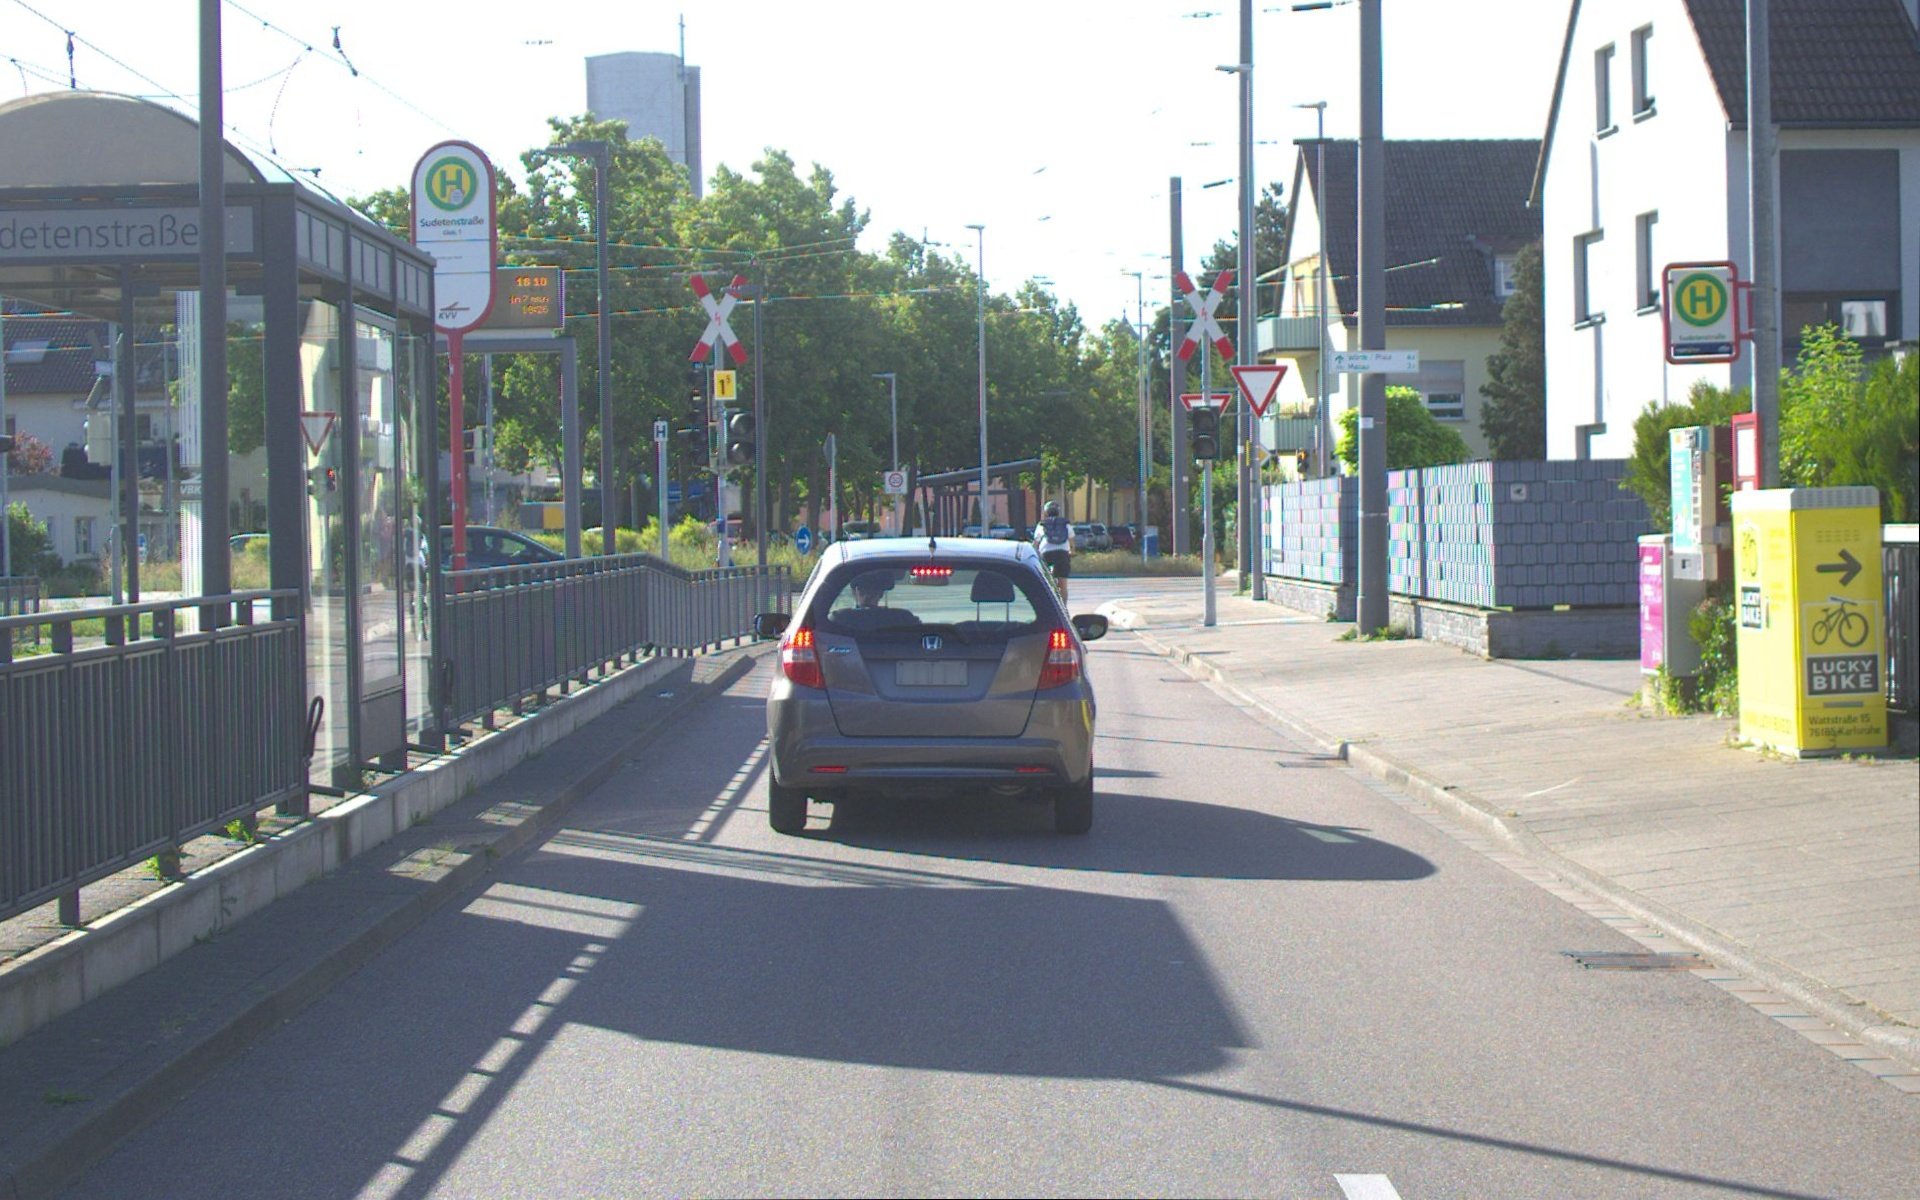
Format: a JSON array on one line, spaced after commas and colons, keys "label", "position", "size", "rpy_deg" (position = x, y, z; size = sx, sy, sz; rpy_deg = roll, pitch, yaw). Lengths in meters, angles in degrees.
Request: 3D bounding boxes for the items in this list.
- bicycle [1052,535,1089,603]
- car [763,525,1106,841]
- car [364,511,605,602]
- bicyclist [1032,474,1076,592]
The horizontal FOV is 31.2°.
[{"label": "bicycle", "position": [1.593, -0.451, 49.710], "size": [0.475, 0.958, 1.657], "rpy_deg": [1, 1, 0]}, {"label": "car", "position": [-0.162, 0.373, 18.656], "size": [1.670, 1.530, 3.487], "rpy_deg": [1, 1, -1]}, {"label": "car", "position": [-8.309, -0.755, 60.293], "size": [3.986, 1.524, 1.808], "rpy_deg": [1, 1, -1]}, {"label": "bicyclist", "position": [1.361, -0.968, 49.661], "size": [0.598, 1.695, 0.683], "rpy_deg": [1, 1, 0]}]
